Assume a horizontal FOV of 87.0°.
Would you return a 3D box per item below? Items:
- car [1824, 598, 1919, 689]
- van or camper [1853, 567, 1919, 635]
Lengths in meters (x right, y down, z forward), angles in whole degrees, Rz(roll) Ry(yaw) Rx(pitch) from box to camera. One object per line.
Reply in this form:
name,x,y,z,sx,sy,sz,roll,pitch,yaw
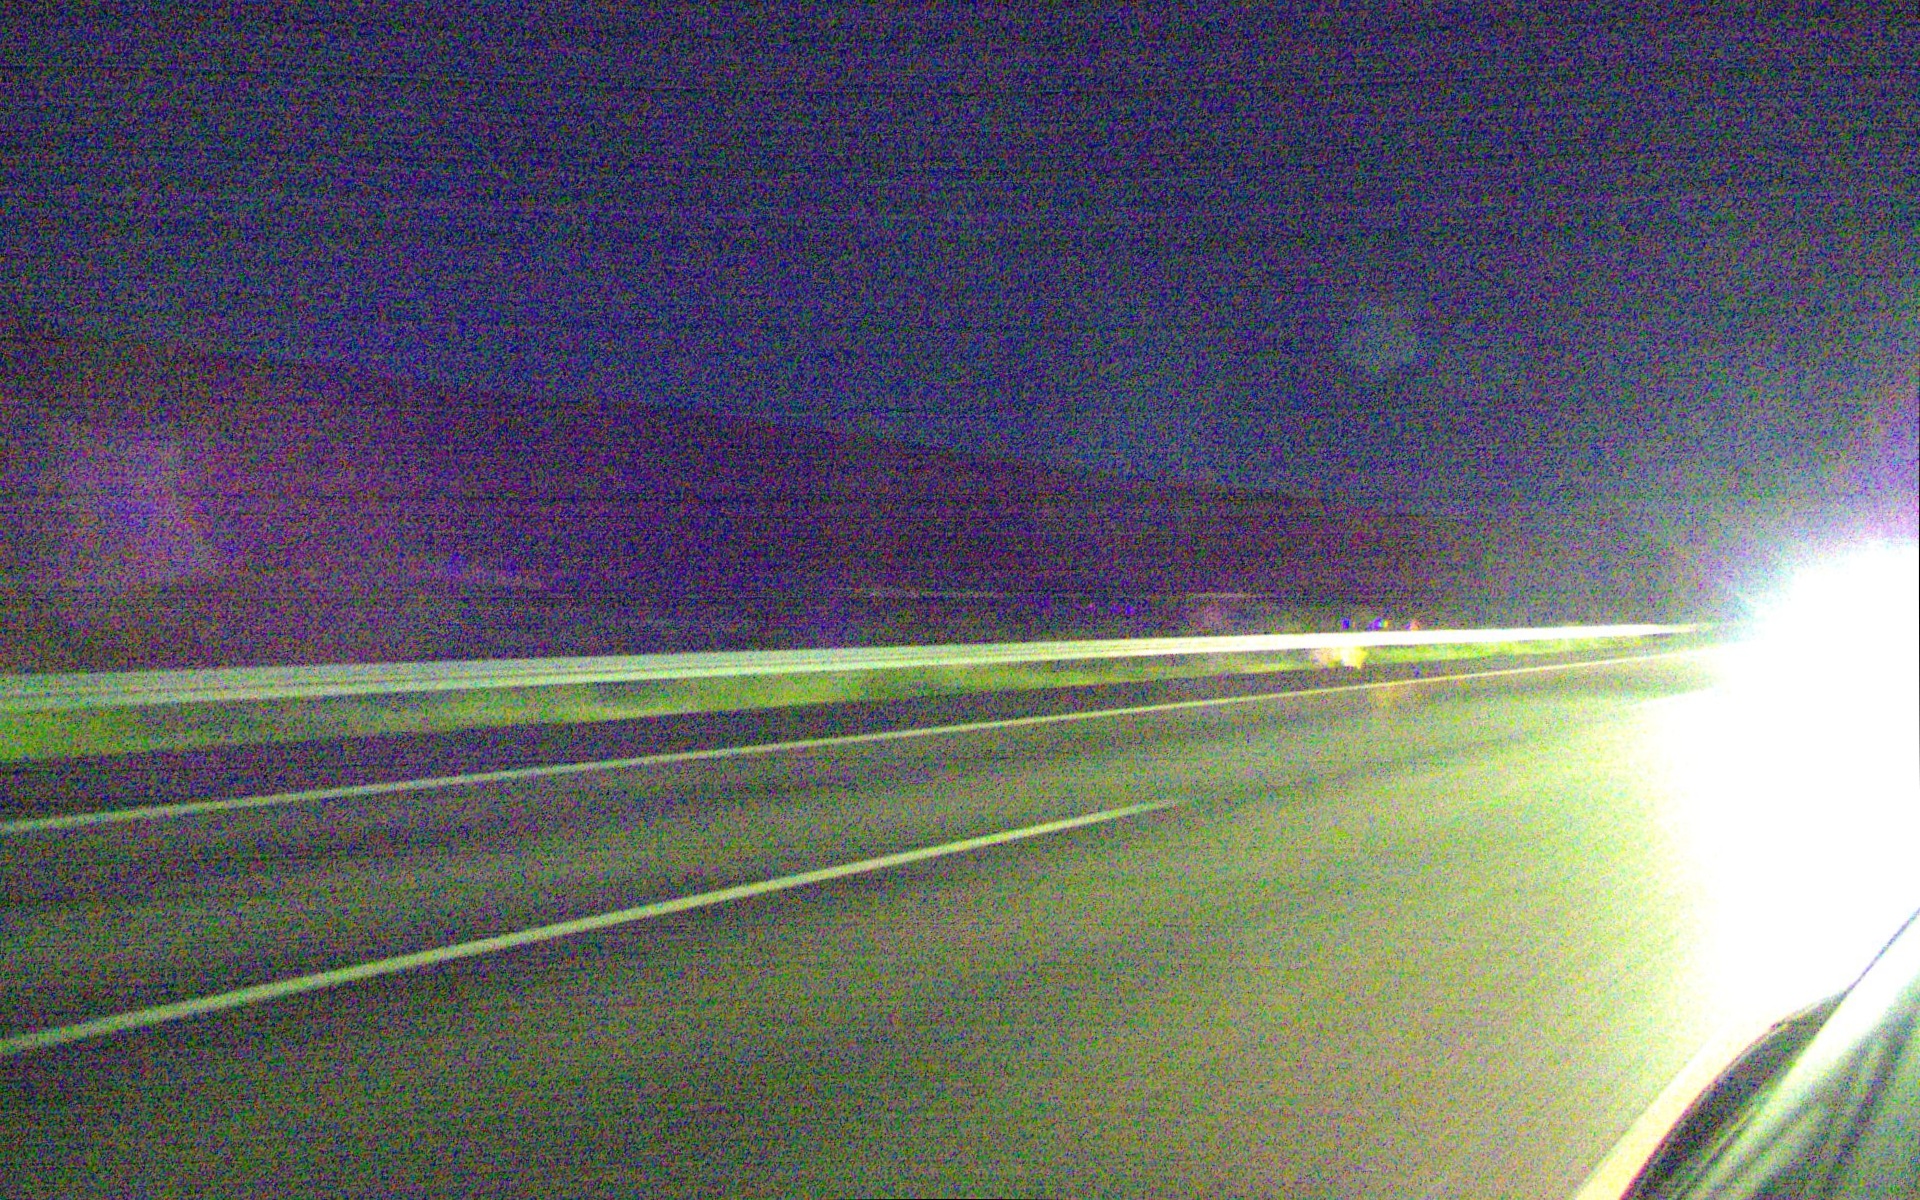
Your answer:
car,16.471,0.720,17.510,4.150,1.431,1.689,2,-1,-41
van or camper,41.147,0.054,44.401,6.689,2.807,2.209,0,-2,-43
